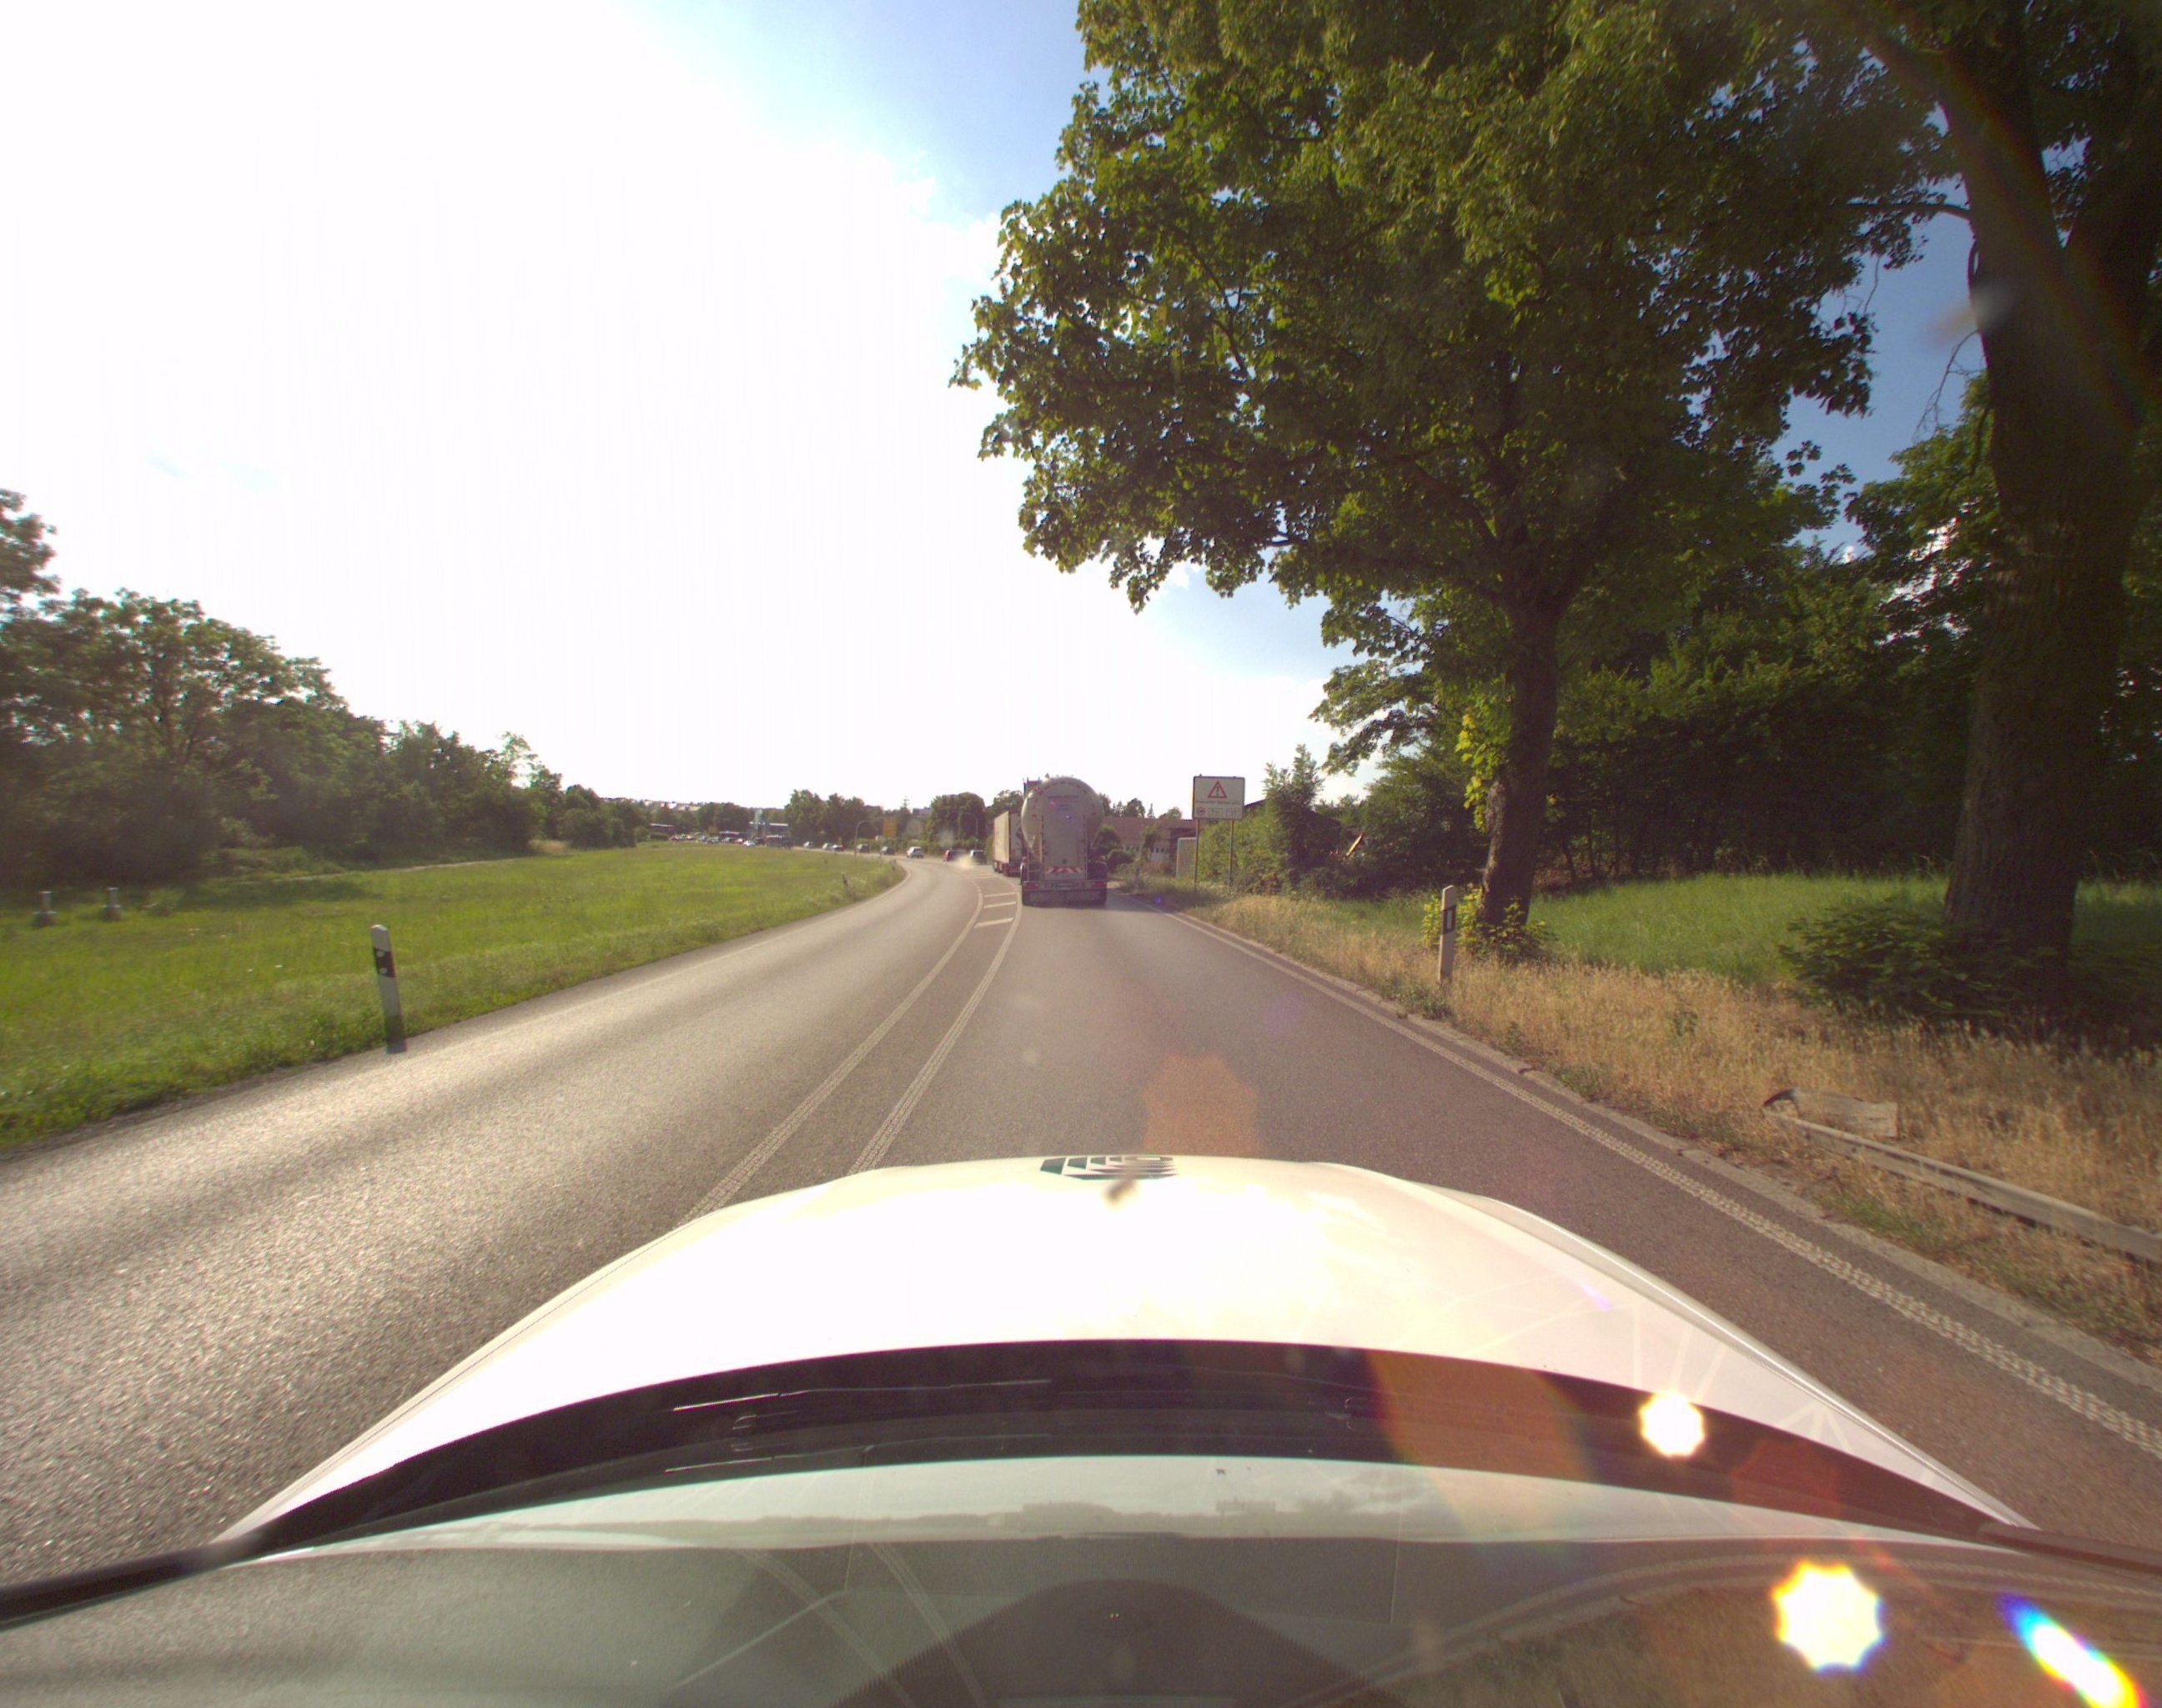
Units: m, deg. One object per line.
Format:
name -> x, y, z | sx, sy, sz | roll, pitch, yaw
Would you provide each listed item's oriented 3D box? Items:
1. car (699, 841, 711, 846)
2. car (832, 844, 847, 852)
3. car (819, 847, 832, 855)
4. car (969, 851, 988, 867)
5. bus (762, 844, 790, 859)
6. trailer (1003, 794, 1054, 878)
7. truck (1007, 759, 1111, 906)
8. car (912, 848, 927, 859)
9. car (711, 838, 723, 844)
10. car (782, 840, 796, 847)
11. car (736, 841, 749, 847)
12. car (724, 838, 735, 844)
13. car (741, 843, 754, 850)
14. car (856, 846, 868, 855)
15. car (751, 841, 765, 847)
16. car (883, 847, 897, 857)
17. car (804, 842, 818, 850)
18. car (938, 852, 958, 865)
car -> -106.550, -3.008, 230.663 | 1.898, 1.599, 3.952 | 0, 1, -42
car -> -49.603, -1.254, 167.143 | 1.691, 1.559, 3.829 | 0, -1, -36
car -> -55.696, -0.669, 177.430 | 1.691, 1.559, 3.830 | 0, -1, -35
car -> -11.010, 0.579, 87.363 | 1.993, 1.656, 3.988 | 0, -1, -9
bus -> -65.980, -0.450, 175.947 | 2.815, 3.181, 11.994 | 0, -1, -36
trailer -> -3.284, -0.982, 52.399 | 2.957, 4.882, 10.276 | 0, -1, -3
truck -> -1.052, -0.555, 29.120 | 2.970, 4.175, 11.644 | 0, -1, -4
car -> -24.655, -0.031, 124.276 | 1.845, 1.656, 3.979 | 0, -1, -16
car -> -100.377, -3.575, 224.806 | 1.898, 1.599, 3.952 | 0, 1, -42
car -> -69.485, -2.484, 193.647 | 2.102, 1.599, 3.955 | 0, 0, -37
car -> -89.780, -2.657, 215.935 | 2.103, 1.599, 3.952 | 0, 1, -42
car -> -95.381, -3.597, 221.007 | 1.897, 1.599, 3.955 | 0, 0, -37
car -> -79.291, -1.776, 193.386 | 1.856, 1.656, 3.954 | 0, -1, -38
car -> -41.359, -0.709, 153.892 | 1.527, 1.656, 3.840 | 0, -1, -25
car -> -82.029, -2.588, 206.726 | 2.102, 1.599, 3.954 | 0, 1, -39
car -> -33.179, -0.317, 141.582 | 1.527, 1.656, 3.840 | 0, -1, -25
car -> -63.123, -1.904, 190.483 | 1.990, 1.656, 3.831 | 0, -1, -34
car -> -17.210, 0.557, 104.961 | 2.302, 1.656, 4.396 | 0, -1, -13
